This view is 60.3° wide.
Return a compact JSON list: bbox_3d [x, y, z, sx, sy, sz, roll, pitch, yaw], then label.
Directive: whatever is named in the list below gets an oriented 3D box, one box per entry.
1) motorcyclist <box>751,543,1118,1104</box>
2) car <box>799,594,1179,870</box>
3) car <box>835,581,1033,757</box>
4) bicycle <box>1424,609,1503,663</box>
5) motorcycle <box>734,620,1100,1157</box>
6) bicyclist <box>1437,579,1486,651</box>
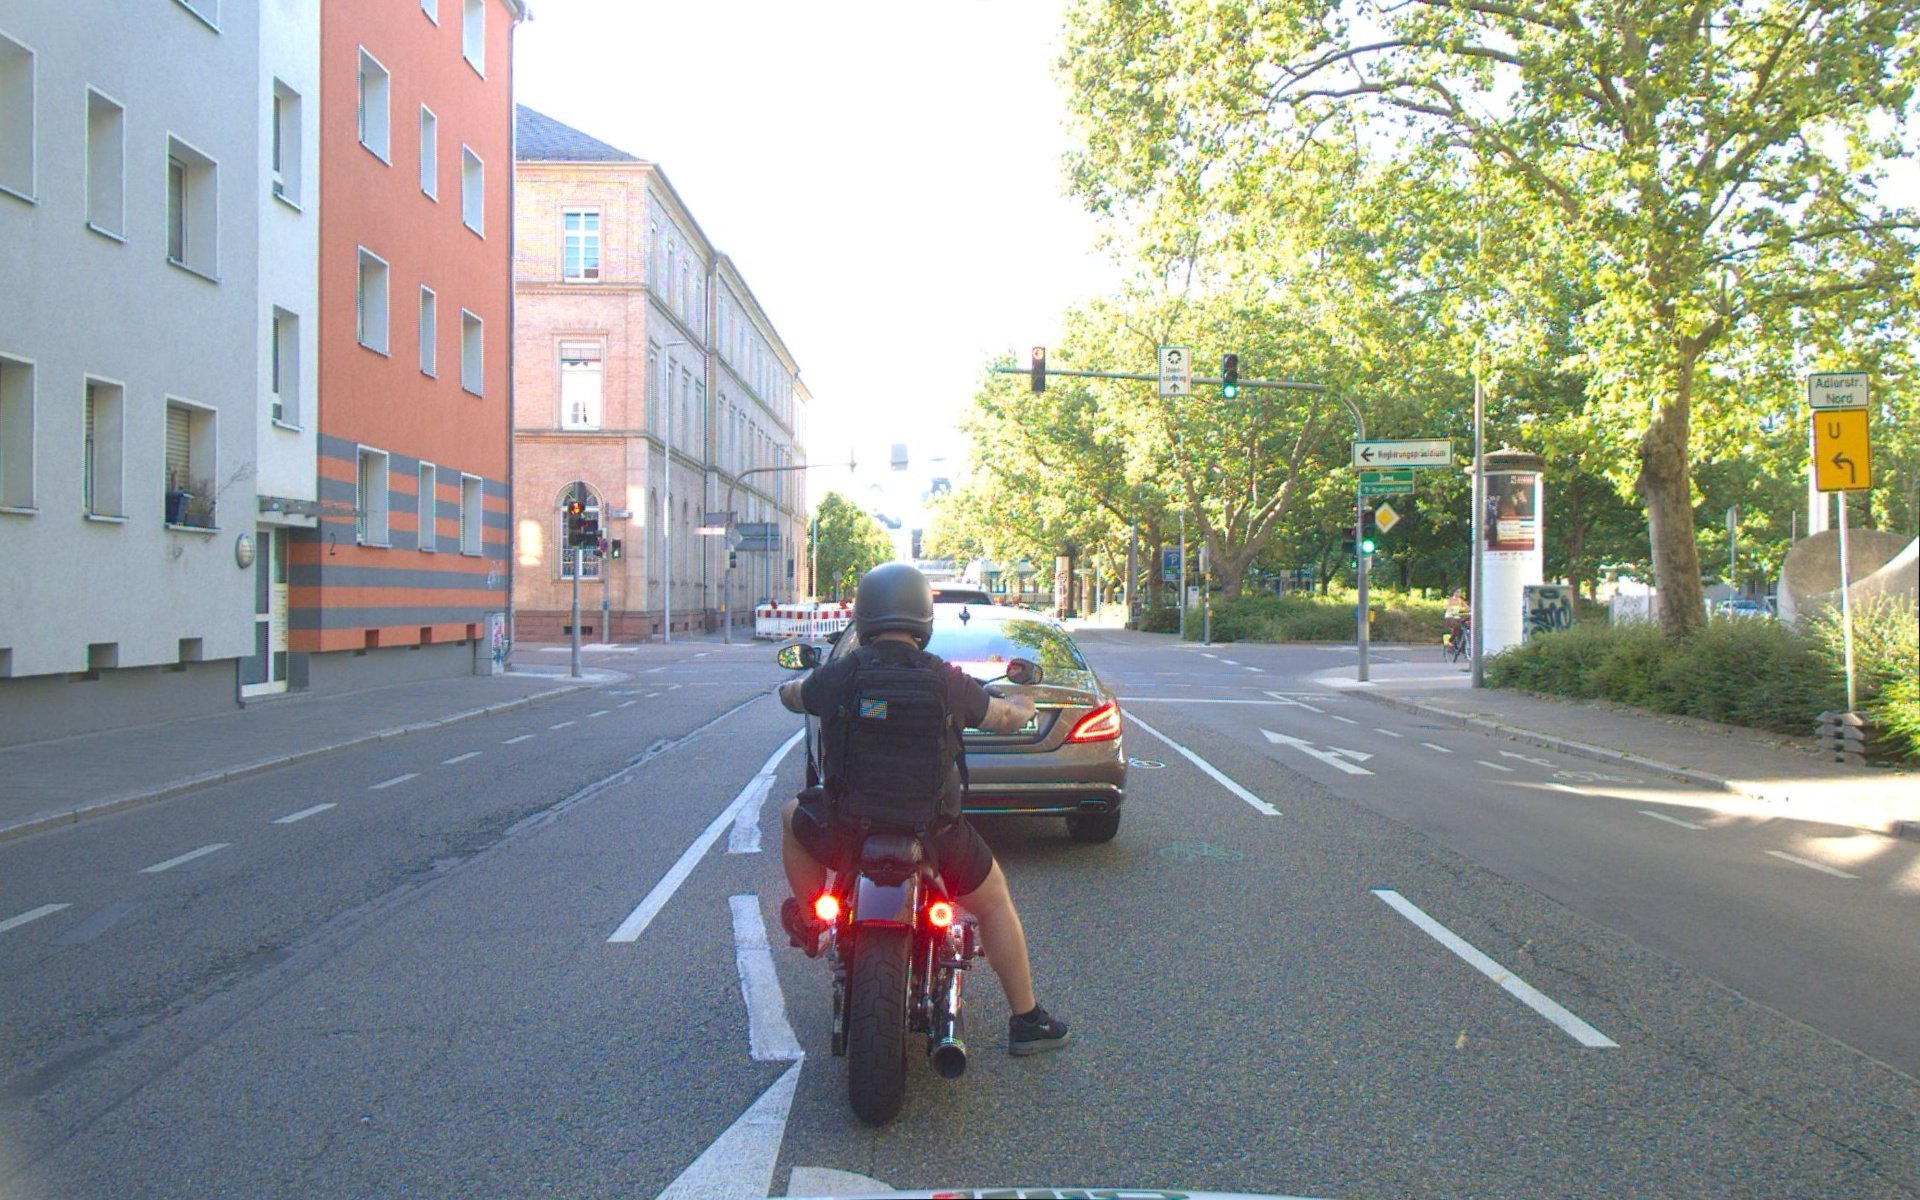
[{"bbox_3d":[-0.078,0.649,5.246,1.039,1.610,0.908,1,0,-1],"label":"motorcyclist"},{"bbox_3d":[-0.031,0.700,11.091,1.867,1.466,4.280,0,0,-9],"label":"car"},{"bbox_3d":[-0.343,0.608,16.745,1.777,1.563,3.846,0,0,-3],"label":"car"},{"bbox_3d":[11.527,0.811,37.960,0.704,1.193,2.168,1,0,-14],"label":"bicycle"},{"bbox_3d":[-0.128,0.774,5.515,0.942,1.380,2.319,1,0,-1],"label":"motorcycle"},{"bbox_3d":[11.522,0.343,38.025,0.704,1.610,0.932,1,-1,-14],"label":"bicyclist"}]
